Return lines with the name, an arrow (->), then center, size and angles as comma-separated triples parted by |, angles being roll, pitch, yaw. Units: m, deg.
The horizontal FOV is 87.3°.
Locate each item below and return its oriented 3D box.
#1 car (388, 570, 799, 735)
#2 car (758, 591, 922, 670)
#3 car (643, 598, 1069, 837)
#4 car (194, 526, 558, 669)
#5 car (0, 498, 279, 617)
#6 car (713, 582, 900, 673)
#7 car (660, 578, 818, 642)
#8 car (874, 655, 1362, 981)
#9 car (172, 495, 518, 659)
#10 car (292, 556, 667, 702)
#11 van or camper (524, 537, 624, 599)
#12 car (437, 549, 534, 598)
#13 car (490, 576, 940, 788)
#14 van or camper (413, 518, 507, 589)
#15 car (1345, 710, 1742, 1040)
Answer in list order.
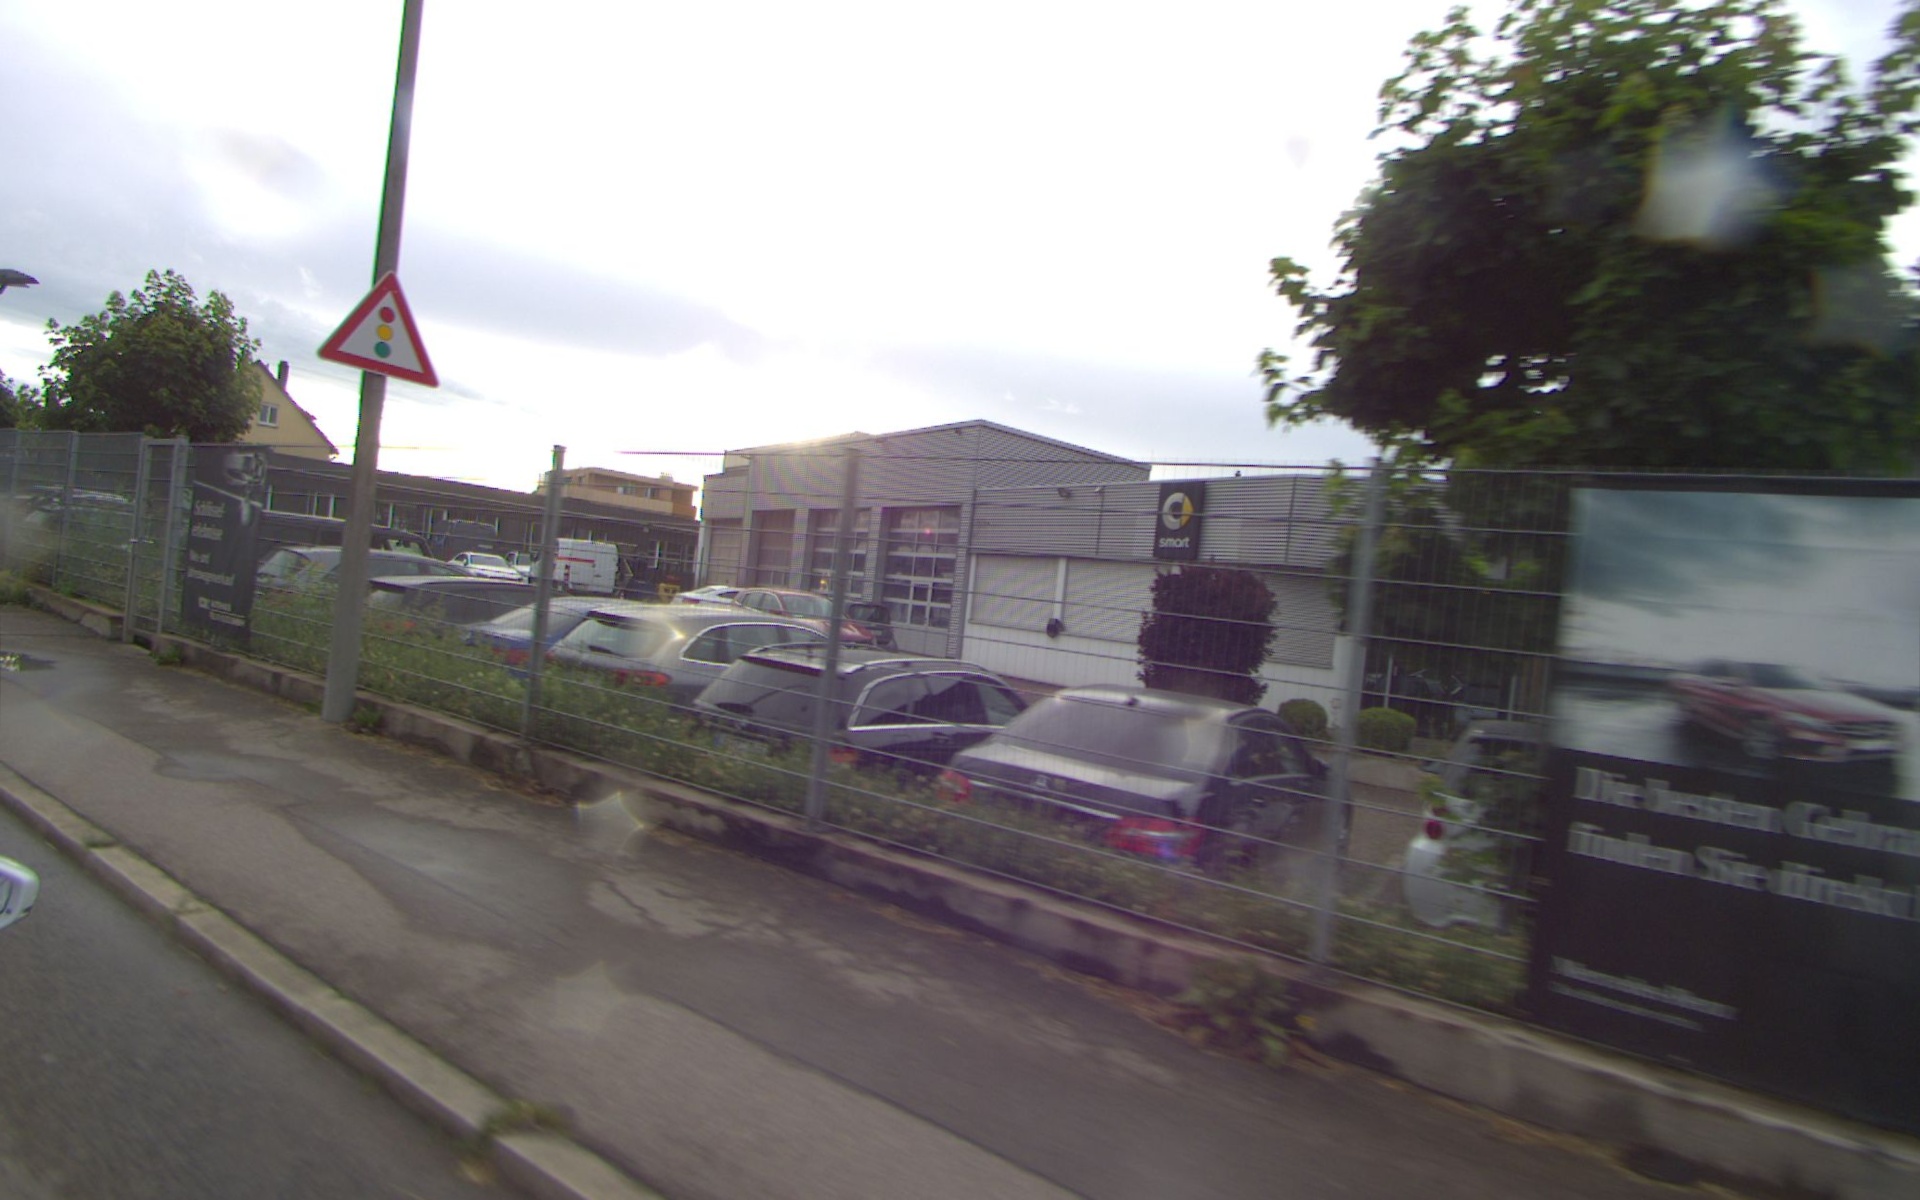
car -> -4.057, 0.697, 11.744 | 1.969, 1.419, 3.993 | 5, -4, 35
car -> -2.951, 0.705, 24.178 | 1.987, 1.435, 3.959 | 10, -5, -39
car -> -0.598, 0.991, 8.664 | 1.566, 1.423, 4.000 | 6, -4, 28
car -> -8.073, 0.032, 14.223 | 1.764, 1.419, 3.988 | 5, -4, 39
car -> -17.079, -0.830, 21.153 | 1.591, 1.791, 4.148 | 5, -4, 35
car -> -3.268, 0.525, 20.854 | 1.986, 1.435, 3.959 | 10, -4, -39
car -> -7.099, 0.338, 32.531 | 4.613, 1.415, 1.704 | 10, -4, -36
car -> 1.439, 1.336, 7.195 | 1.967, 1.384, 4.119 | 5, -4, 31
car -> -9.503, -0.273, 15.890 | 1.746, 1.914, 4.142 | 5, -4, 35
car -> -6.123, 0.462, 13.250 | 1.797, 1.451, 3.990 | 7, -1, 35
van or camper -> -14.893, -1.222, 38.634 | 1.985, 1.959, 5.379 | 9, -4, -37
car -> -18.066, -1.029, 38.228 | 1.887, 1.435, 4.412 | 11, -5, -44
car -> -2.264, 0.904, 10.398 | 1.937, 1.615, 4.181 | 5, -4, 34
van or camper -> -21.742, -2.081, 43.625 | 2.322, 2.589, 5.678 | 6, 0, -39
car -> 4.139, 1.713, 7.264 | 1.967, 1.463, 2.720 | 5, 0, 32
